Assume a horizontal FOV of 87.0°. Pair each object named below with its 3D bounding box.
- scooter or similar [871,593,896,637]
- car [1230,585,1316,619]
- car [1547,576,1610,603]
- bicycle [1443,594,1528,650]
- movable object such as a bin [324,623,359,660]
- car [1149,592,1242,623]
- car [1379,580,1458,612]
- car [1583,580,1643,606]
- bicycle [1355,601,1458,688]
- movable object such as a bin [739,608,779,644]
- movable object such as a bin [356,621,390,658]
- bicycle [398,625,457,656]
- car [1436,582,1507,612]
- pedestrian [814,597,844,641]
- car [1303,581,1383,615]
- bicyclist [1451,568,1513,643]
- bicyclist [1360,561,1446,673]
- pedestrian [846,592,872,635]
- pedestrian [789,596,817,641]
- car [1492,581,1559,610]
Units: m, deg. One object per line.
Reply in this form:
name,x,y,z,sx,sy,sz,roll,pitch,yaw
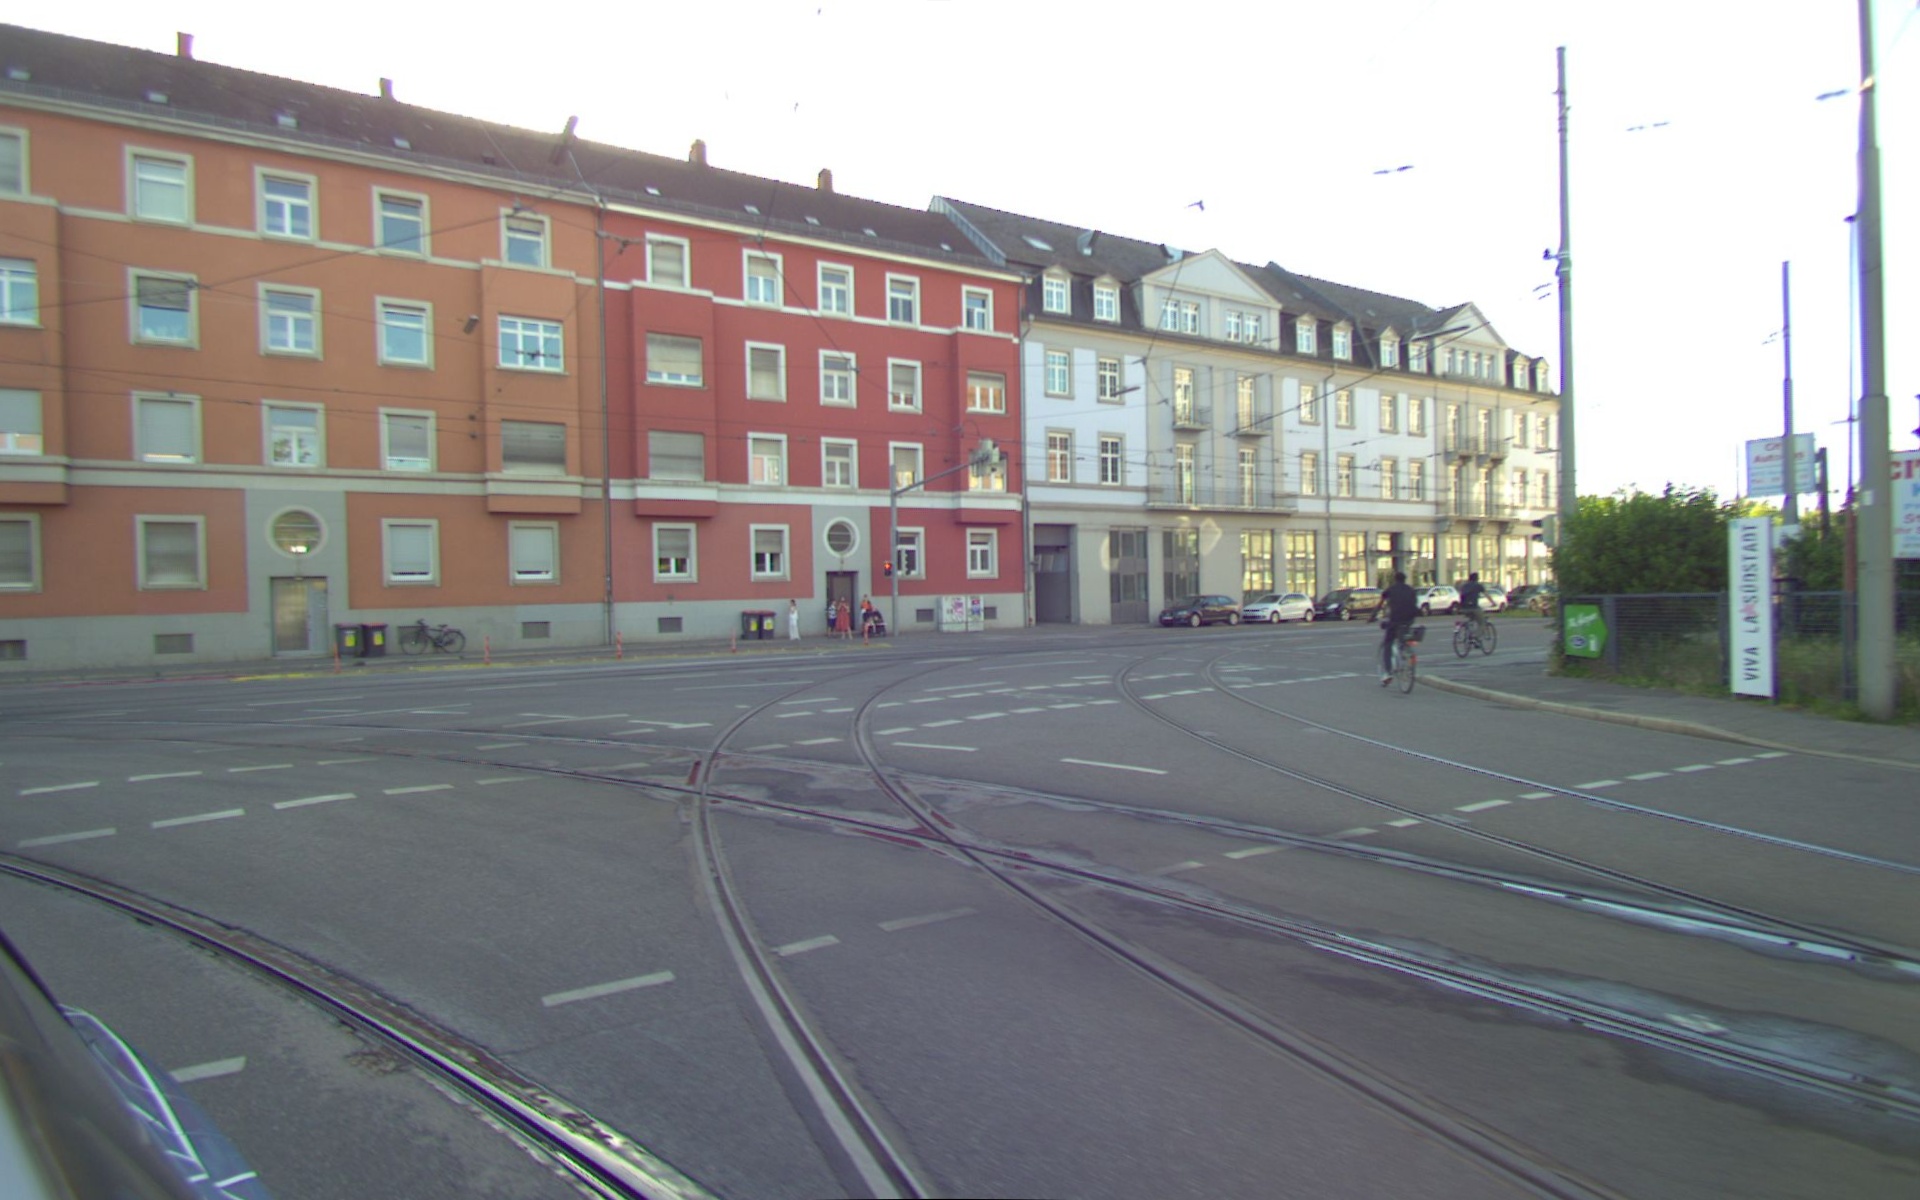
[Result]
scooter or similar,-2.933,0.577,38.797,0.651,1.645,0.788,-1,0,26
car,14.907,0.095,48.099,3.932,1.463,1.730,-2,0,-32
car,38.218,-0.673,62.532,3.932,1.563,1.730,-2,0,-32
bicycle,11.118,0.442,21.406,1.839,1.094,0.775,-2,0,-34
movable object such as a bin,-18.383,1.233,30.083,0.798,1.048,0.848,-1,0,-36
car,10.460,0.321,44.858,3.932,1.242,1.730,-2,0,-32
car,24.619,-0.209,54.304,4.202,1.563,1.846,-2,0,-32
car,42.070,-0.481,65.182,3.932,1.563,1.730,-1,0,-32
bicycle,6.364,0.597,14.555,0.886,1.133,2.058,-1,0,11
movable object such as a bin,-7.361,0.937,37.067,1.212,1.259,0.876,-1,0,-26
movable object such as a bin,-17.738,1.184,30.563,0.798,1.048,0.848,-1,0,-36
bicycle,-16.530,1.259,31.437,1.576,0.897,0.336,-1,0,-28
car,28.857,-0.150,57.062,3.932,1.563,1.730,-2,0,-32
pedestrian,-4.929,0.715,38.122,0.825,1.645,0.790,-1,0,20
car,19.129,-0.091,50.522,3.791,1.563,1.730,-2,0,-32
bicyclist,10.986,0.104,21.293,0.978,1.536,0.838,-1,0,-41
bicyclist,6.346,0.239,14.559,0.870,1.538,1.047,-1,0,11
pedestrian,-3.901,0.516,38.977,0.651,1.645,0.788,-1,0,26
pedestrian,-5.820,0.678,37.513,0.794,1.645,0.646,-1,0,37
car,33.237,-0.264,59.462,3.932,1.563,1.730,-2,0,-32
